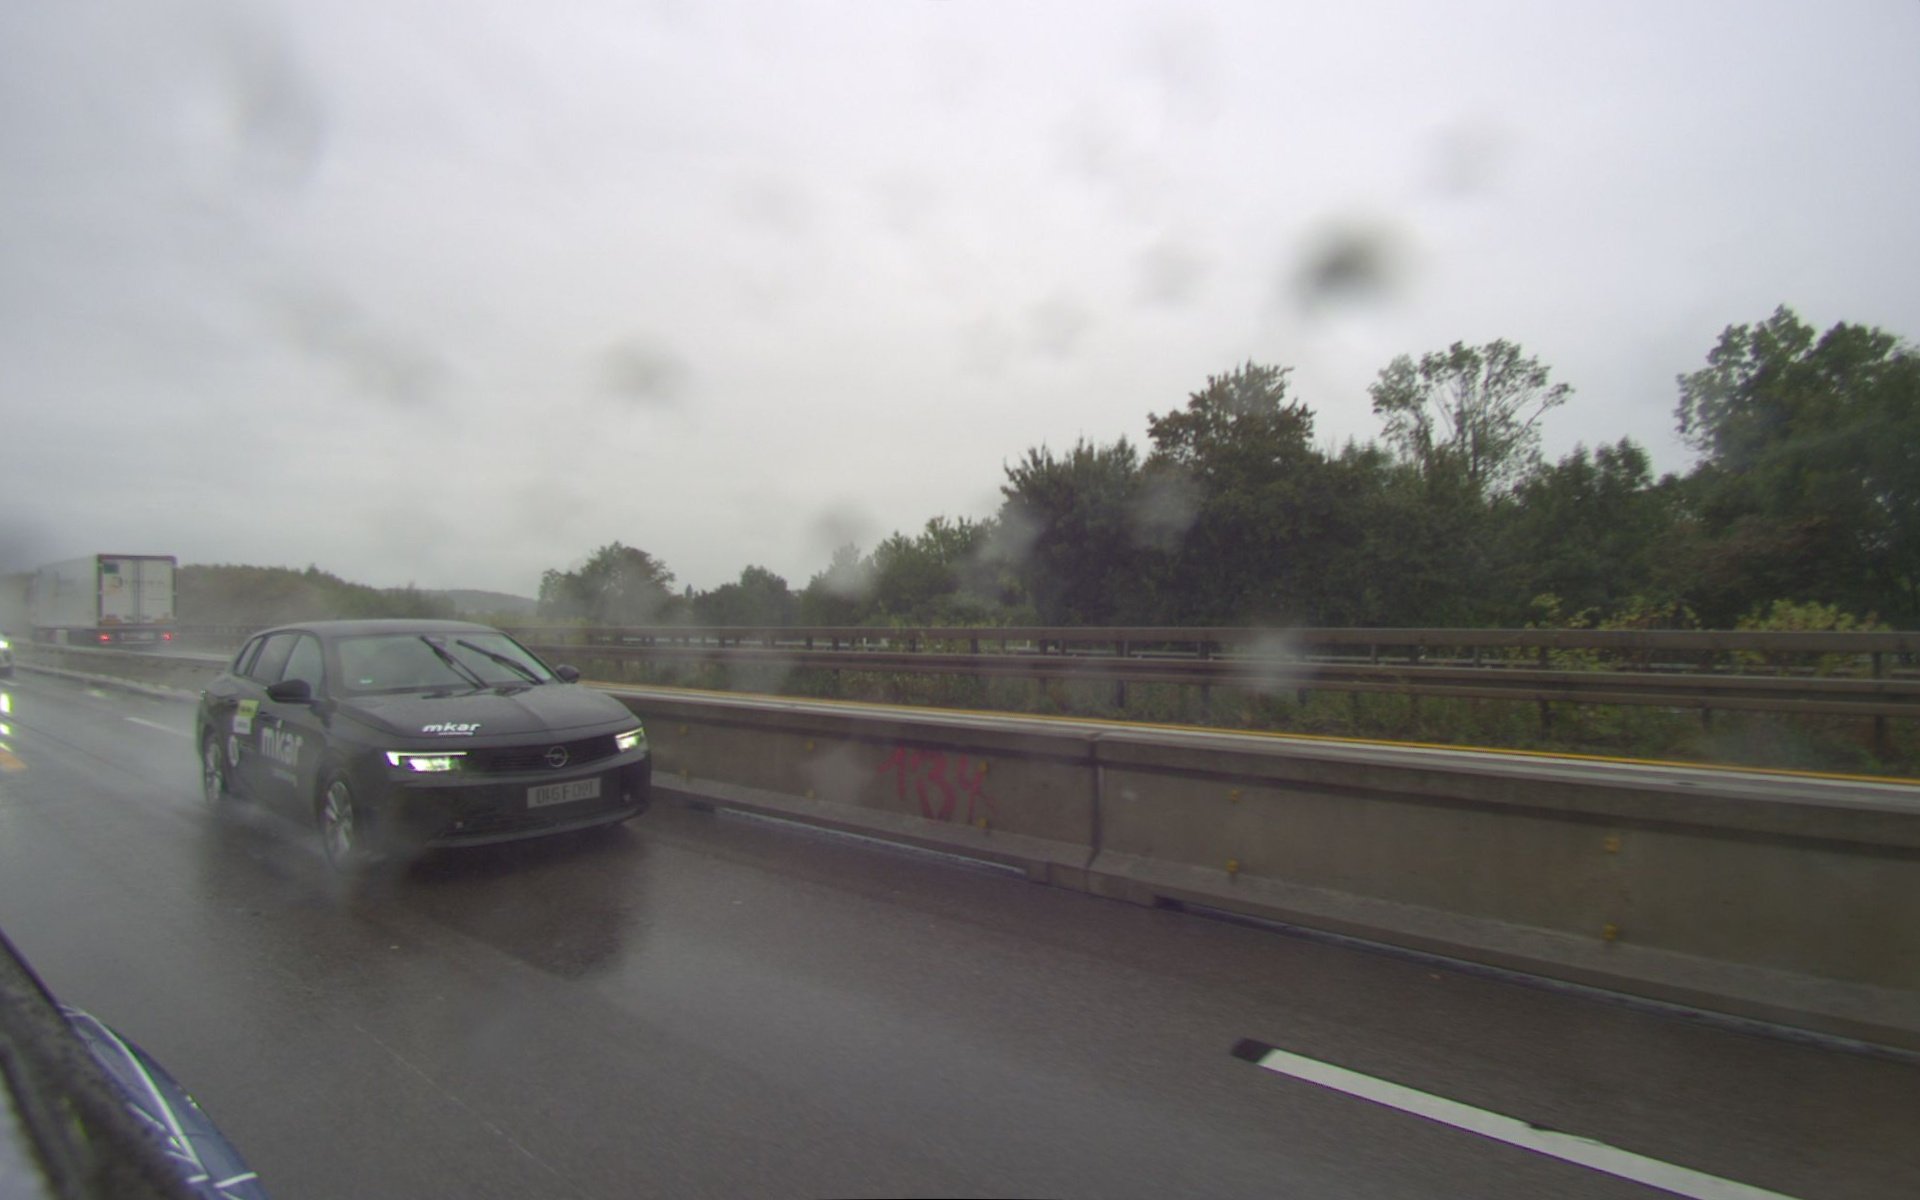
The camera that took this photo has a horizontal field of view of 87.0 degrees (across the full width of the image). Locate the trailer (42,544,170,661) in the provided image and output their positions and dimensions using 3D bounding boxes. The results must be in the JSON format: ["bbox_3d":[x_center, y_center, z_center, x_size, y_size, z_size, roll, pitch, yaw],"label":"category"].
[{"bbox_3d":[-38.096,0.114,44.913,12.003,4.624,2.521,0,0,41],"label":"trailer"}]

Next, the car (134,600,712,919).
[{"bbox_3d":[-4.015,0.790,7.163,4.790,1.539,1.920,-1,-1,39],"label":"car"}]

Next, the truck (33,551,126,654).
[{"bbox_3d":[-42.248,0.118,48.511,6.449,4.638,2.533,0,0,41],"label":"truck"}]

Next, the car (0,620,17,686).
[{"bbox_3d":[-26.751,1.393,26.916,3.996,1.693,1.947,0,0,39],"label":"car"}]
